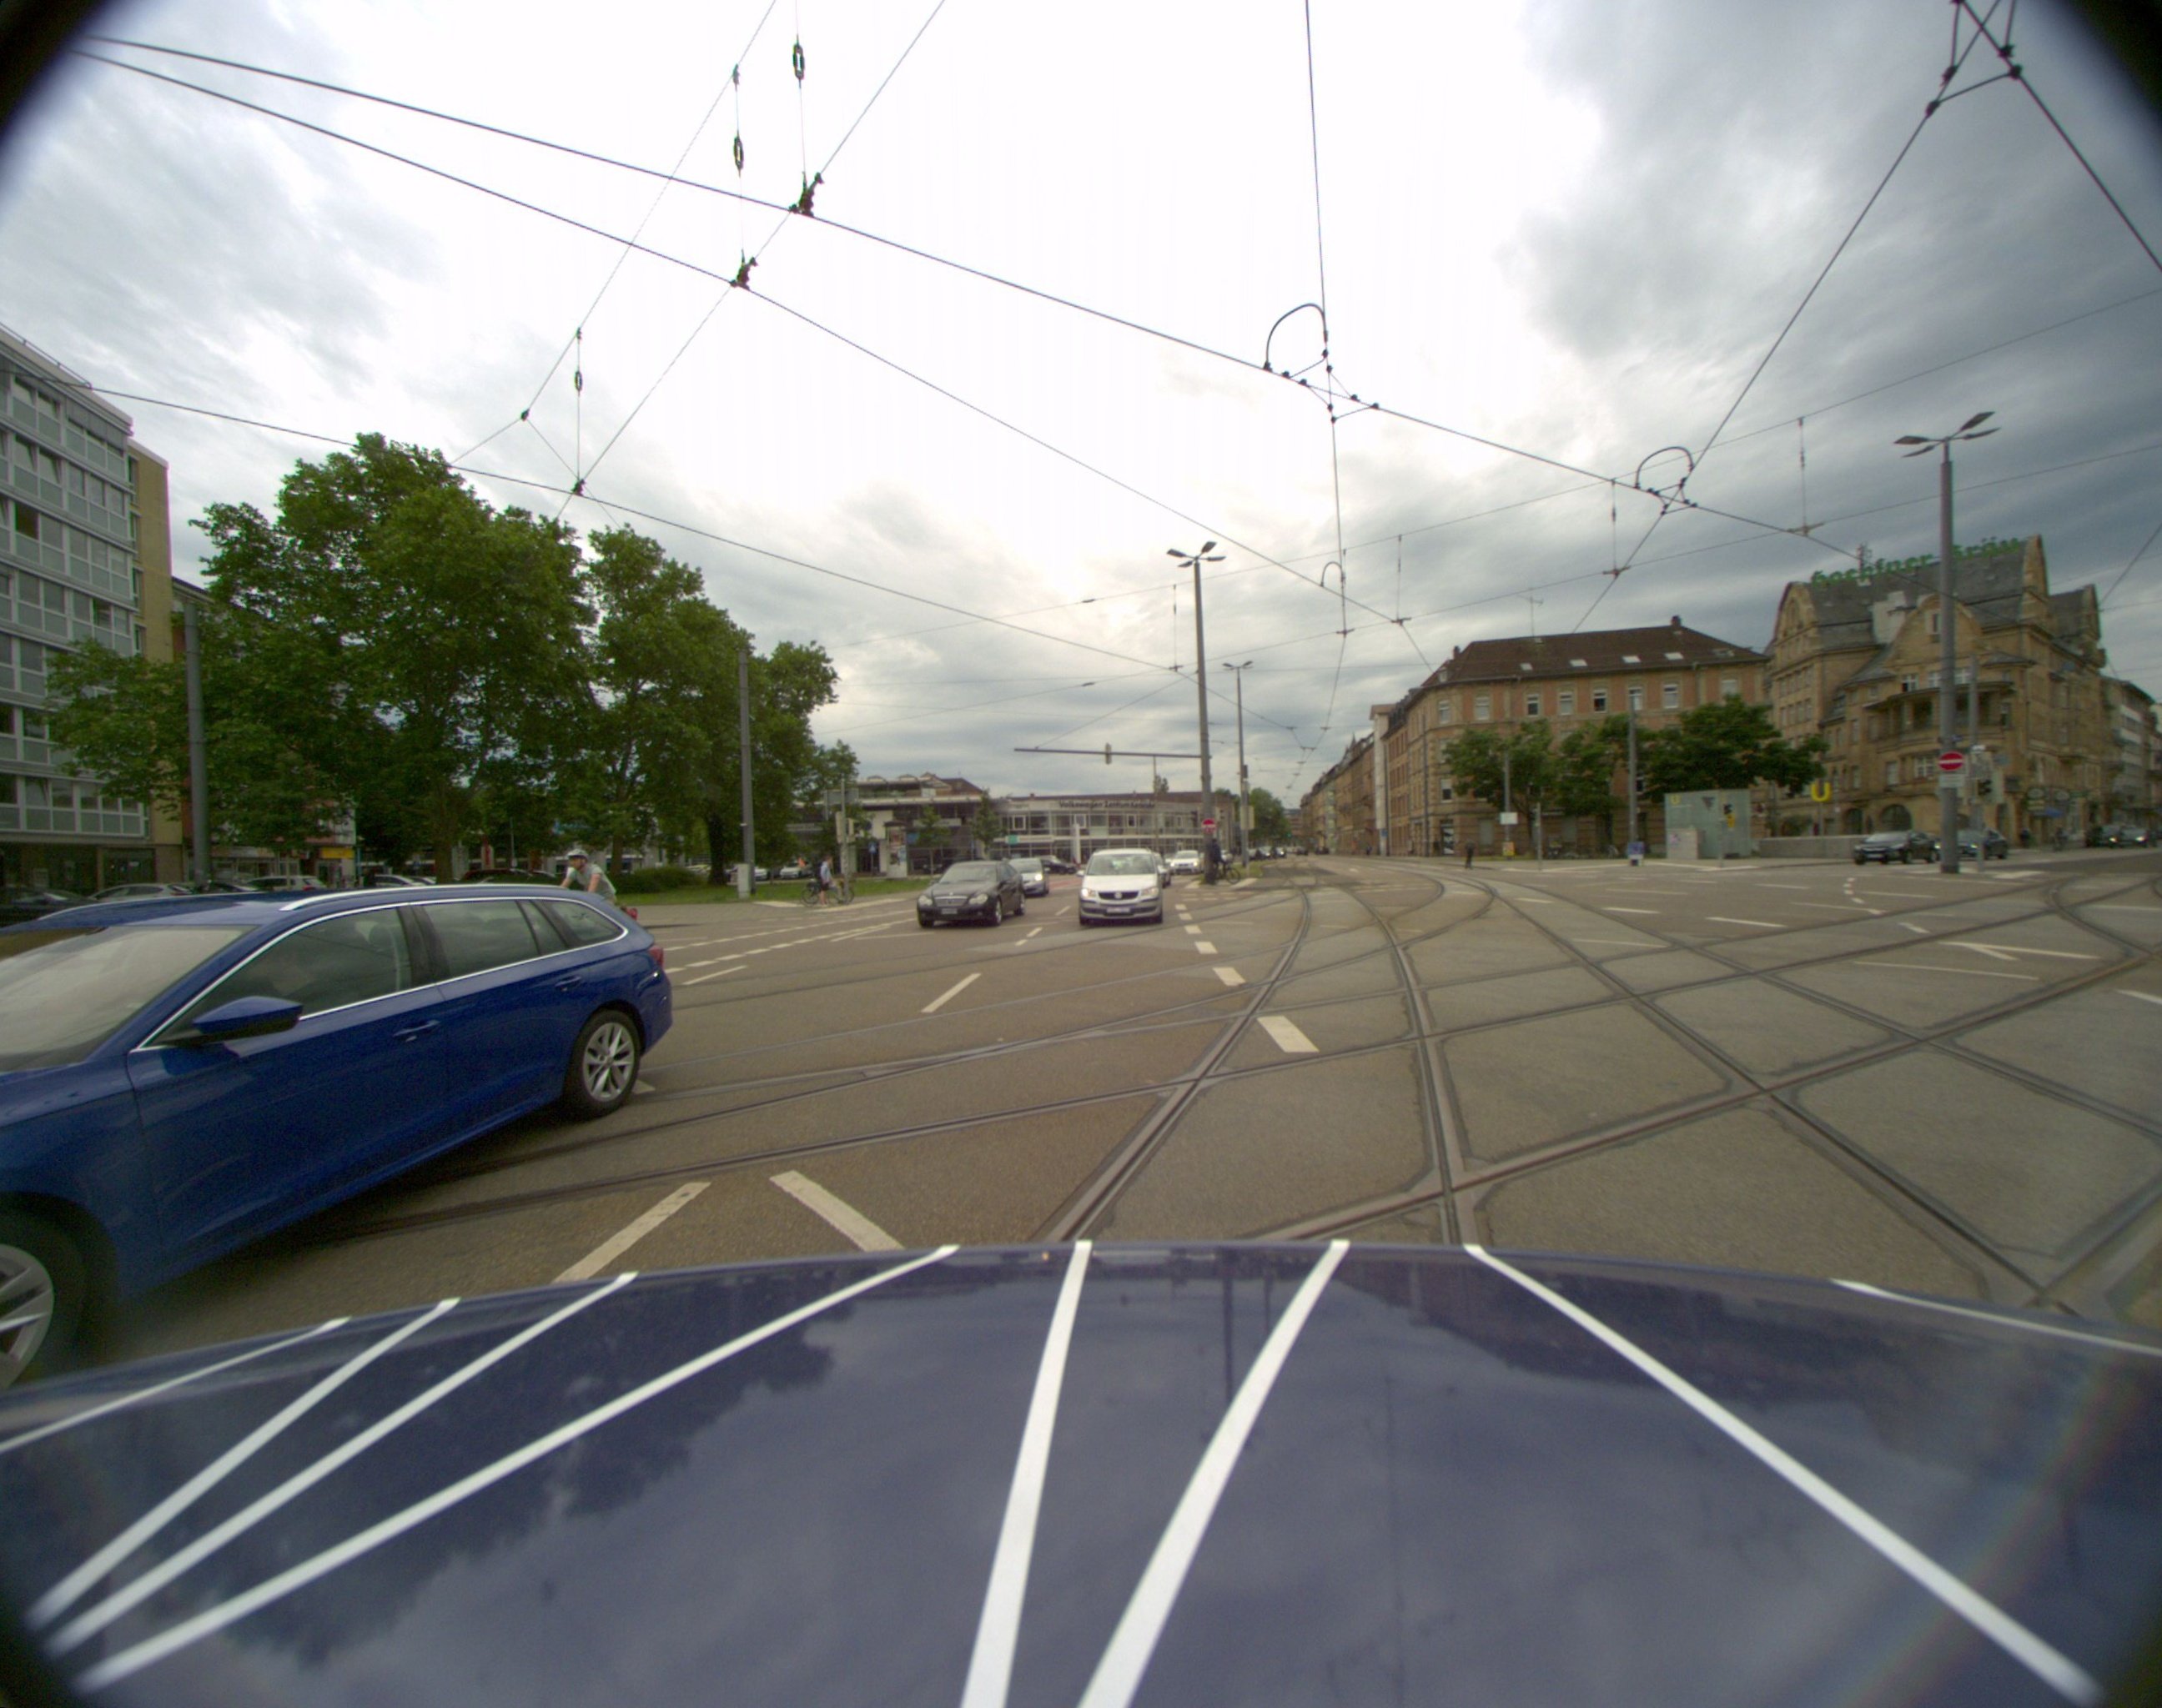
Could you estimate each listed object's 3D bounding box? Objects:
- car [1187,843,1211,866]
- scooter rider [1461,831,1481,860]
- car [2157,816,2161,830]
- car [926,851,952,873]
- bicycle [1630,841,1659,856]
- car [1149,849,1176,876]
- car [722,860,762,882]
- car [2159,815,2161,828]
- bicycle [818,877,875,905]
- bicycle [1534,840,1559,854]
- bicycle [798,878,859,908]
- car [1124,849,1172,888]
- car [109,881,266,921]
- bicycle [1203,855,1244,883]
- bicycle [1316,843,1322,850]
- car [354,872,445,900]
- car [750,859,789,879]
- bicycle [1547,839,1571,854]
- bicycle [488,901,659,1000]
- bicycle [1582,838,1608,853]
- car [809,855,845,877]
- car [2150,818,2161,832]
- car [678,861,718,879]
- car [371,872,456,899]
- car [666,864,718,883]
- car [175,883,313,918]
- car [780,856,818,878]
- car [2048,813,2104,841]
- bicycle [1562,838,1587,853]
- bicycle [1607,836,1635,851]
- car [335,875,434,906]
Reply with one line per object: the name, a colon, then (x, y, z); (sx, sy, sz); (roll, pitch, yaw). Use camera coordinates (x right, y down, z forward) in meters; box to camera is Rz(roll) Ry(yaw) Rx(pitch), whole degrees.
car: (11.304, 0.046, 72.441); (1.997, 2.002, 4.003); (-2, 1, 11)
scooter rider: (22.499, -0.482, 43.808); (0.570, 1.618, 0.820); (-3, 2, -39)
car: (119.867, -3.440, 83.404); (4.008, 1.457, 1.828); (-3, 1, -33)
car: (-13.968, 0.757, 75.028); (1.956, 1.635, 4.668); (-3, 5, -4)
bicycle: (40.437, -0.432, 54.560); (0.753, 1.024, 2.399); (-1, 1, 13)
car: (6.564, 0.632, 61.684); (1.998, 2.002, 4.001); (-2, 1, 5)
car: (-33.576, 1.635, 75.375); (1.955, 1.505, 4.225); (-2, 7, 2)
car: (124.465, -3.776, 86.503); (4.008, 1.457, 1.828); (-3, 1, -33)
bicycle: (-8.763, 1.381, 28.447); (1.946, 0.992, 0.601); (1, 1, -7)
bicycle: (34.503, -0.527, 56.324); (0.836, 1.024, 2.398); (-2, 1, 13)
bicycle: (-8.974, 1.371, 27.033); (1.993, 0.993, 0.579); (-1, 2, -14)
car: (2.814, 0.559, 31.311); (1.809, 1.398, 3.984); (-2, 1, 7)
car: (-39.429, 2.028, 33.688); (4.005, 1.434, 1.995); (-2, 1, -27)
bicycle: (5.814, 0.591, 31.013); (1.616, 1.064, 0.527); (-3, 2, -26)
bicycle: (42.933, -1.332, 137.181); (0.798, 1.285, 2.413); (-2, 1, 14)
car: (-44.966, 2.103, 50.243); (4.005, 1.604, 1.996); (-2, 1, -26)
car: (-30.849, 1.470, 75.434); (1.955, 1.459, 4.225); (-2, 6, 2)
bicycle: (35.259, -0.565, 56.120); (0.753, 1.024, 2.398); (-2, 1, 13)
bicycle: (-7.043, 1.296, 10.706); (0.762, 1.072, 2.017); (-4, 1, 10)
bicycle: (37.437, -0.658, 55.361); (0.753, 1.024, 2.398); (-2, 1, 13)
car: (-25.156, 1.156, 75.443); (1.955, 1.450, 4.224); (-2, 8, 2)
car: (115.565, -3.126, 80.888); (4.008, 1.457, 1.828); (-3, 1, -33)
car: (-38.569, 1.600, 76.553); (3.120, 1.505, 1.440); (-2, 5, 2)
car: (-46.154, 2.138, 52.676); (4.005, 1.604, 1.996); (-2, 1, -26)
car: (-38.024, 1.863, 74.371); (4.146, 1.505, 1.654); (-2, 5, 2)
car: (-39.672, 2.160, 36.156); (4.005, 1.327, 1.833); (-2, 1, -27)
car: (-27.982, 1.293, 75.582); (1.955, 1.589, 4.225); (-2, 7, 2)
car: (67.357, -1.818, 51.436); (4.007, 1.750, 1.828); (-3, 2, -30)
bicycle: (36.324, -0.611, 55.927); (0.753, 1.024, 2.398); (-2, 1, 13)
bicycle: (38.984, -0.796, 54.864); (0.753, 1.024, 2.398); (-2, 1, 13)
car: (-42.270, 2.215, 46.248); (4.005, 1.604, 1.996); (-2, 1, -26)
